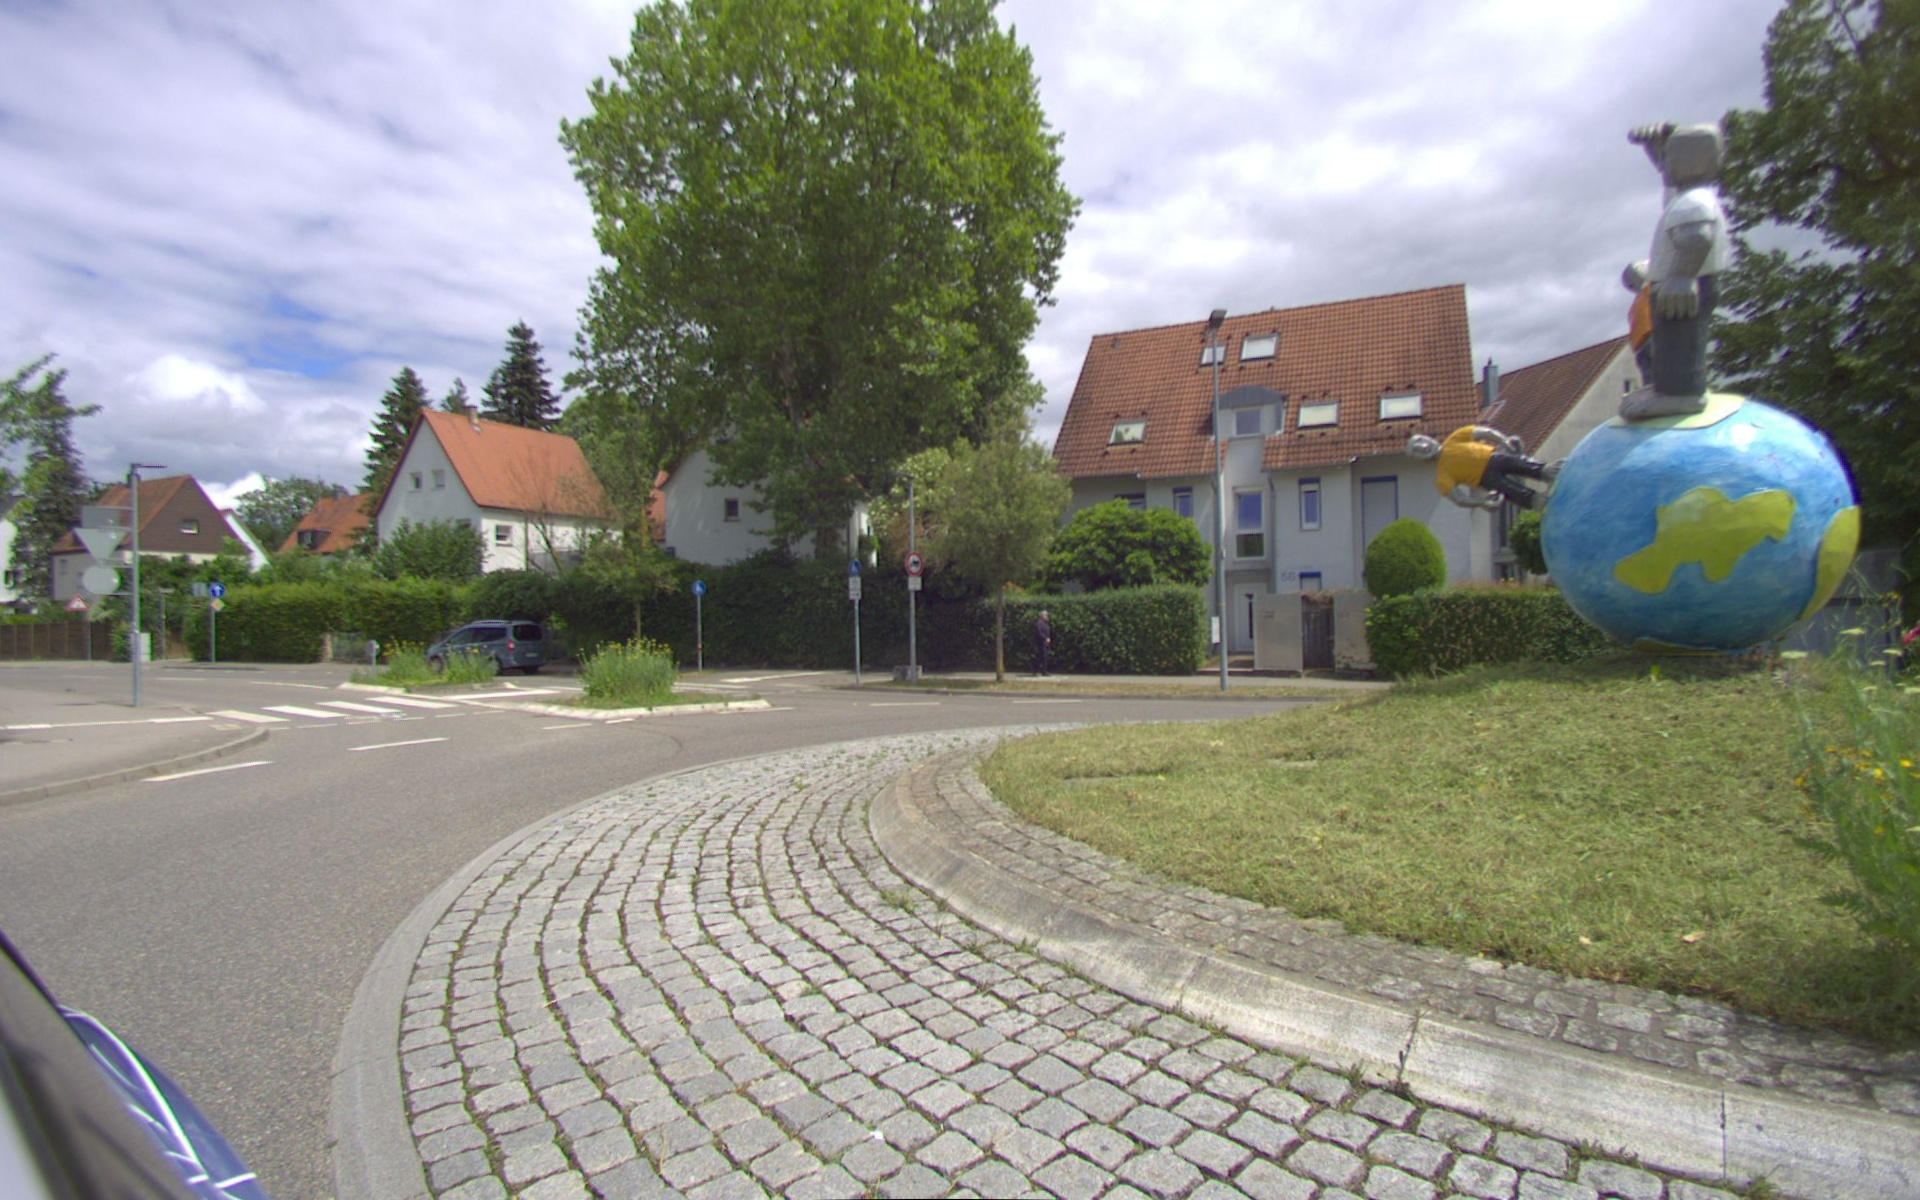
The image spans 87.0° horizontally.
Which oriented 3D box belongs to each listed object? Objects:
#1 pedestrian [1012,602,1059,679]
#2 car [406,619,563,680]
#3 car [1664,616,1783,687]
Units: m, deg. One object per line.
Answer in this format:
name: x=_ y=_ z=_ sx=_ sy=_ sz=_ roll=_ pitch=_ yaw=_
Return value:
pedestrian: x=2.020 y=1.090 z=27.117 sx=1.033 sy=2.029 sz=0.868 roll=-2 pitch=-2 yaw=22
car: x=-15.657 y=1.635 z=33.364 sx=4.429 sy=1.786 sz=2.126 roll=-2 pitch=0 yaw=19
car: x=17.630 y=1.159 z=23.386 sx=1.997 sy=1.497 sz=3.949 roll=-2 pitch=-3 yaw=38
